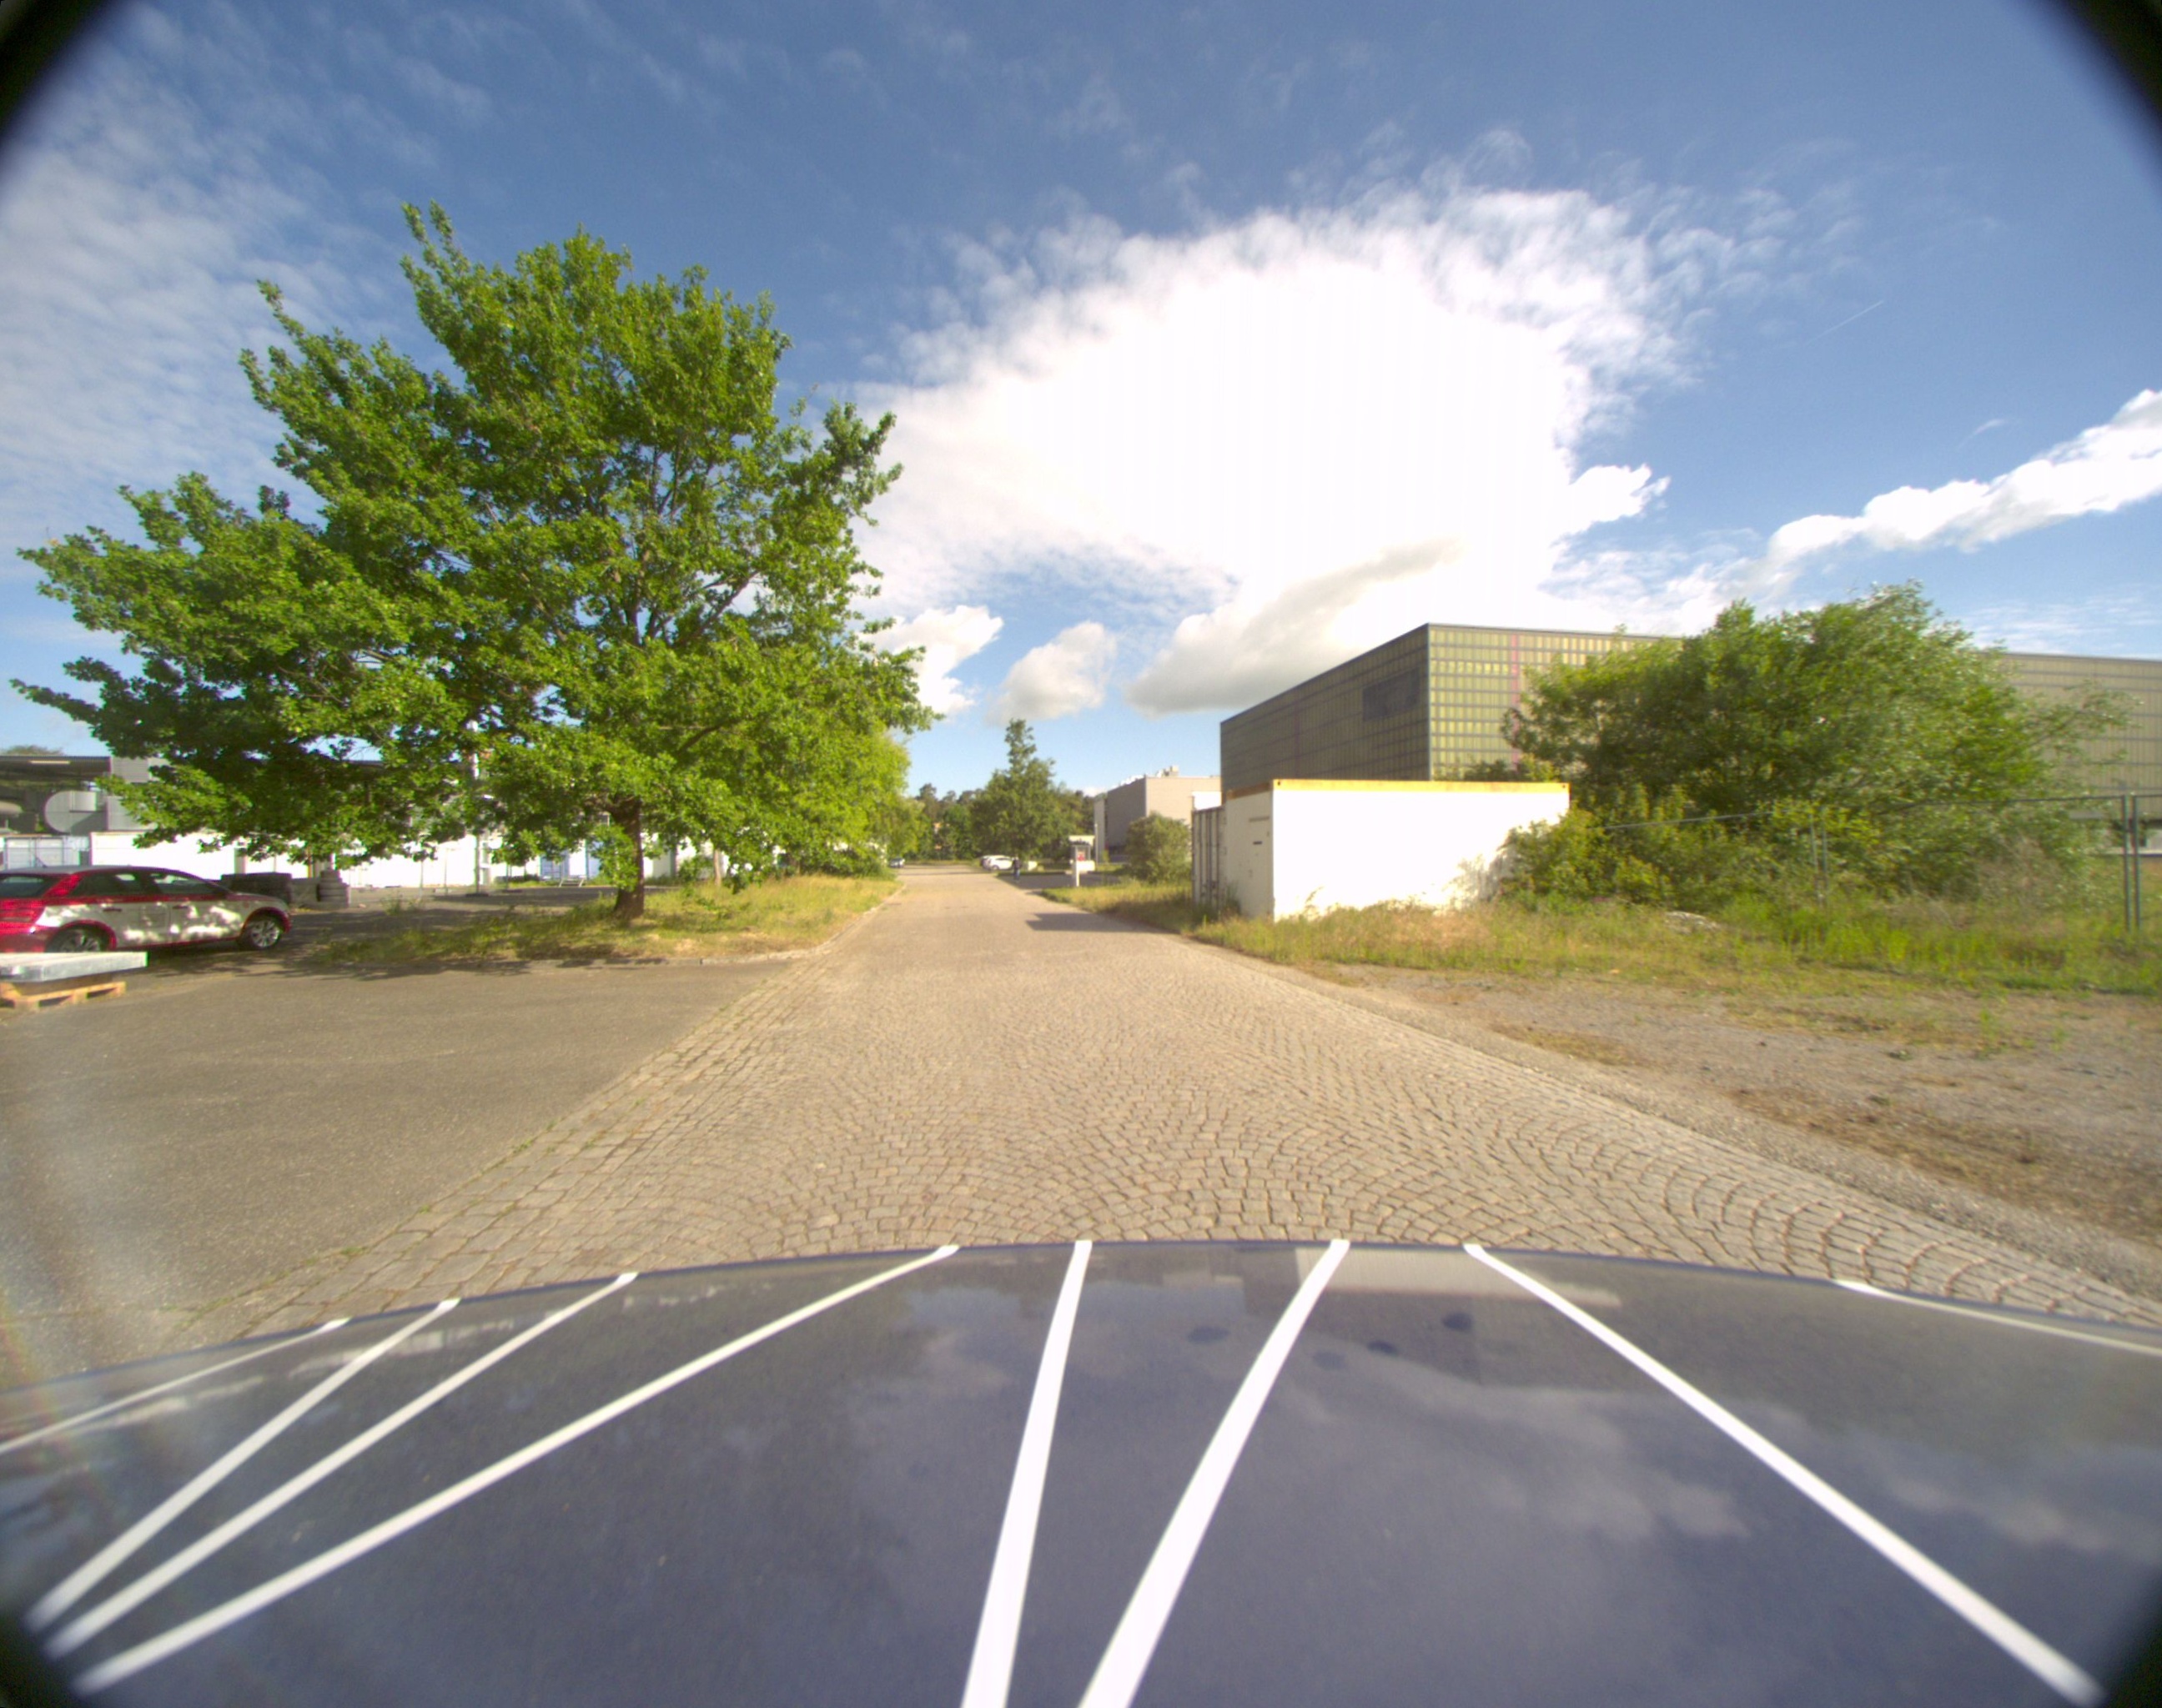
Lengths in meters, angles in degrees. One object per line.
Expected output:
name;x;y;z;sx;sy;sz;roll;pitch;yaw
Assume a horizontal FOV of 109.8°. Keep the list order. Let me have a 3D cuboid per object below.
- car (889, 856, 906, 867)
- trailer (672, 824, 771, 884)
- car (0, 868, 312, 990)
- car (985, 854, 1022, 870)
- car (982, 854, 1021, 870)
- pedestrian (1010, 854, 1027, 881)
car;-24.398;0.961;100.867;2.001;1.363;3.994;-1;0;-17
trailer;-22.646;-0.020;48.551;2.926;3.451;9.893;-1;0;-9
car;-14.344;0.974;11.381;1.727;1.455;3.998;0;0;-4
car;-8.345;0.852;82.073;3.999;1.633;1.999;0;0;-5
car;-8.270;0.810;79.318;3.999;1.633;1.999;0;0;-5
pedestrian;-3.650;0.788;44.616;0.867;1.550;1.028;-1;0;0
